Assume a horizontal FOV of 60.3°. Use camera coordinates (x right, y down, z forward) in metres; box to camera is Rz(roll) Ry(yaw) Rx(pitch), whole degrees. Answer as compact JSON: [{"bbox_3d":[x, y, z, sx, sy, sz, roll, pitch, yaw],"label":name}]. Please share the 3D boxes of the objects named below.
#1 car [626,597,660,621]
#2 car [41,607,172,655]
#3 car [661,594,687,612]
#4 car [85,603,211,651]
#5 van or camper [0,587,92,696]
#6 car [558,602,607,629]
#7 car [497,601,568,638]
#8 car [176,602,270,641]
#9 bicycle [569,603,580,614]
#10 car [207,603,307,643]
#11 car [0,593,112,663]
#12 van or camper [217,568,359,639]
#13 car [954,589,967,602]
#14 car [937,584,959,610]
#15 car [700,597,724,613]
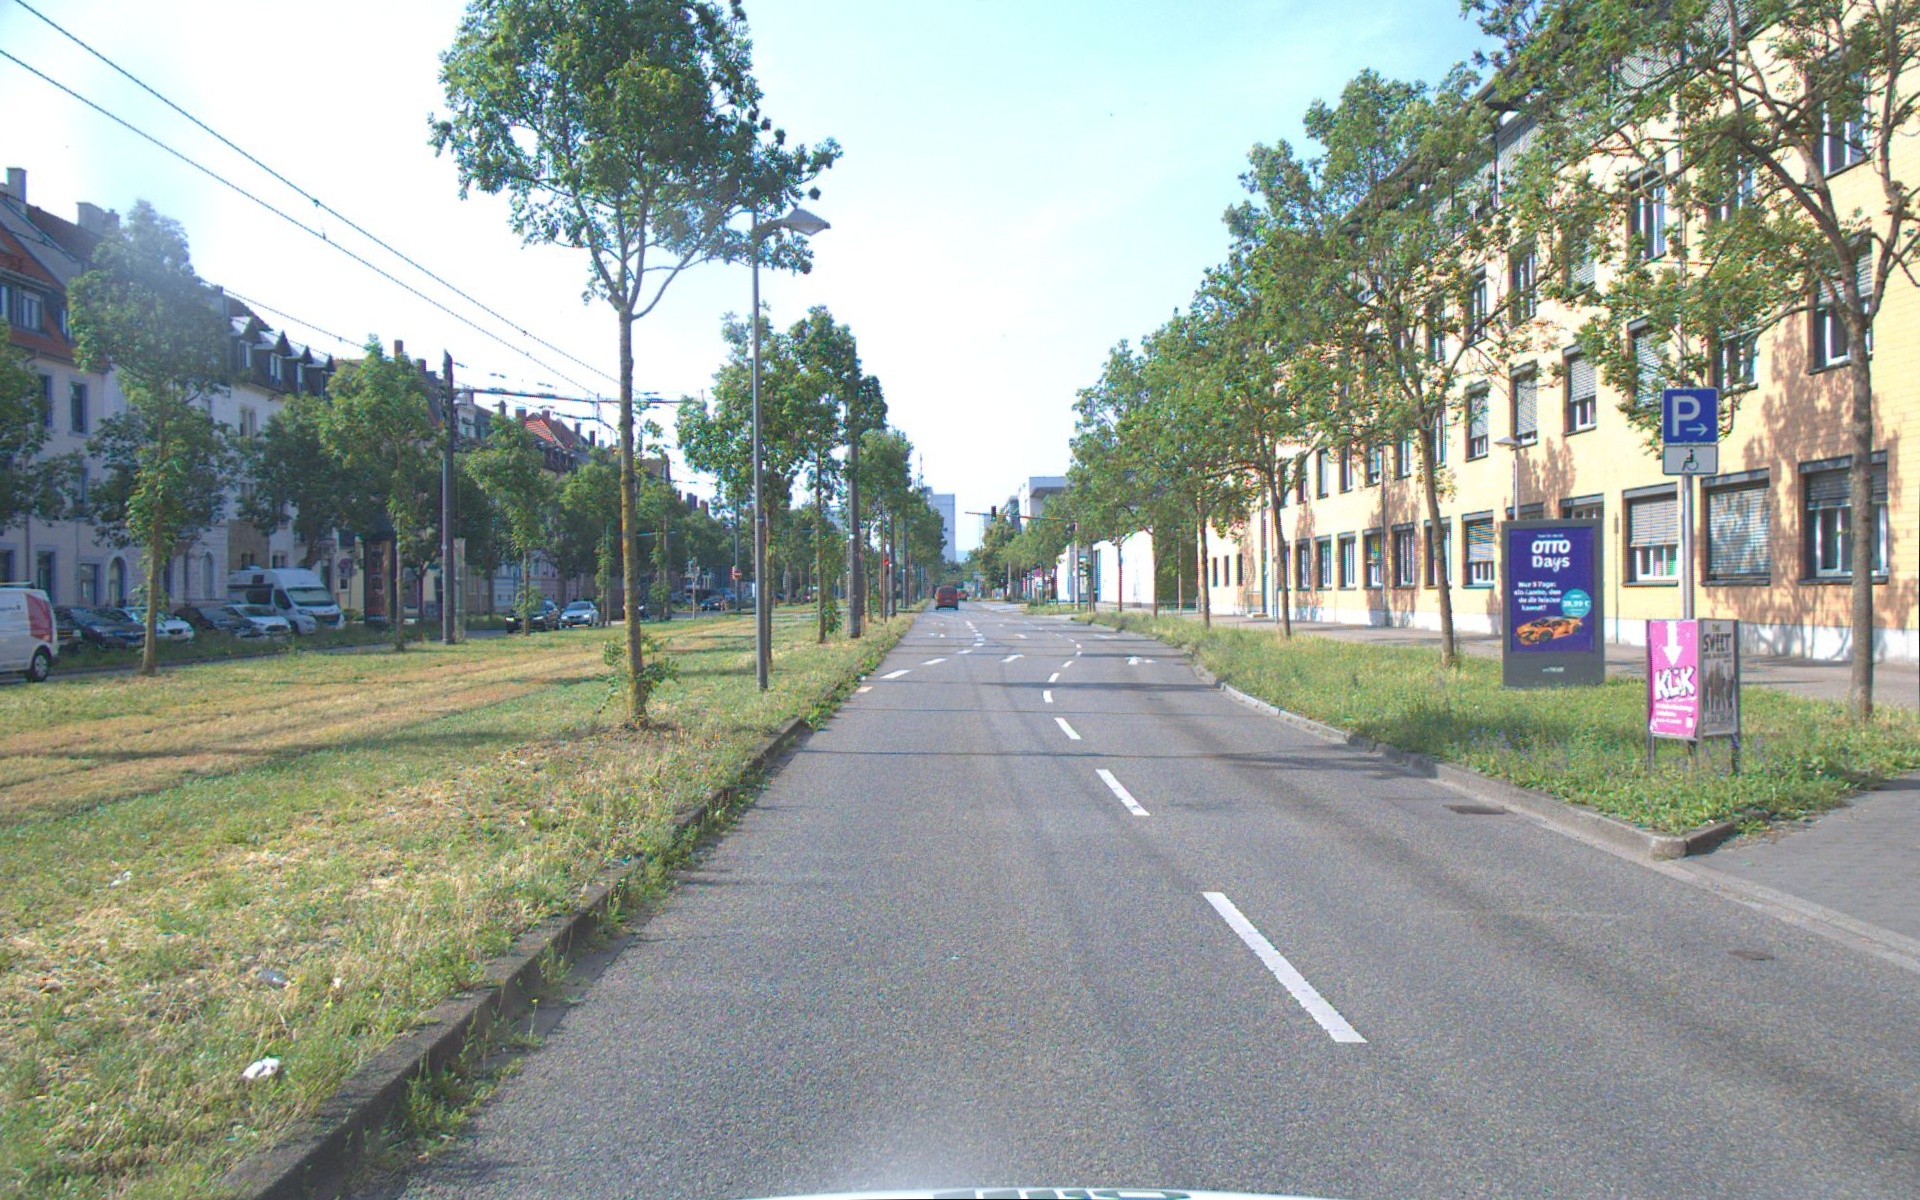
[{"bbox_3d":[-23.229,0.692,121.417,1.728,1.684,3.999,1,0,-1],"label":"car"},{"bbox_3d":[-24.465,0.873,47.389,3.607,1.263,1.658,1,0,31],"label":"car"},{"bbox_3d":[-28.894,0.295,167.302,1.953,1.657,4.773,1,0,-2],"label":"car"},{"bbox_3d":[-24.561,0.804,49.984,3.932,1.339,1.657,1,-1,34],"label":"car"},{"bbox_3d":[-19.718,0.794,33.097,1.912,2.133,5.351,1,0,-1],"label":"van or camper"},{"bbox_3d":[-21.778,0.899,95.624,1.908,1.485,4.646,1,0,-2],"label":"car"},{"bbox_3d":[-20.554,0.939,79.802,1.952,1.658,5.380,1,0,0],"label":"car"},{"bbox_3d":[-25.744,0.749,57.739,3.621,1.263,1.652,1,-1,42],"label":"car"},{"bbox_3d":[-31.306,0.690,134.275,0.438,0.872,1.946,1,0,-2],"label":"bicycle"},{"bbox_3d":[-25.842,0.853,60.764,3.611,1.355,1.657,1,-1,34],"label":"car"},{"bbox_3d":[-25.354,0.767,44.730,4.540,1.773,1.833,-1,0,24],"label":"car"},{"bbox_3d":[-26.072,0.118,64.081,5.803,2.618,2.192,1,-1,34],"label":"van or camper"},{"bbox_3d":[0.023,-0.651,223.625,1.712,1.679,3.215,1,0,0],"label":"car"},{"bbox_3d":[-0.982,-0.268,135.524,1.712,2.049,3.215,1,0,0],"label":"car"},{"bbox_3d":[-23.458,0.468,156.709,1.775,1.458,3.924,1,0,-1],"label":"car"}]
